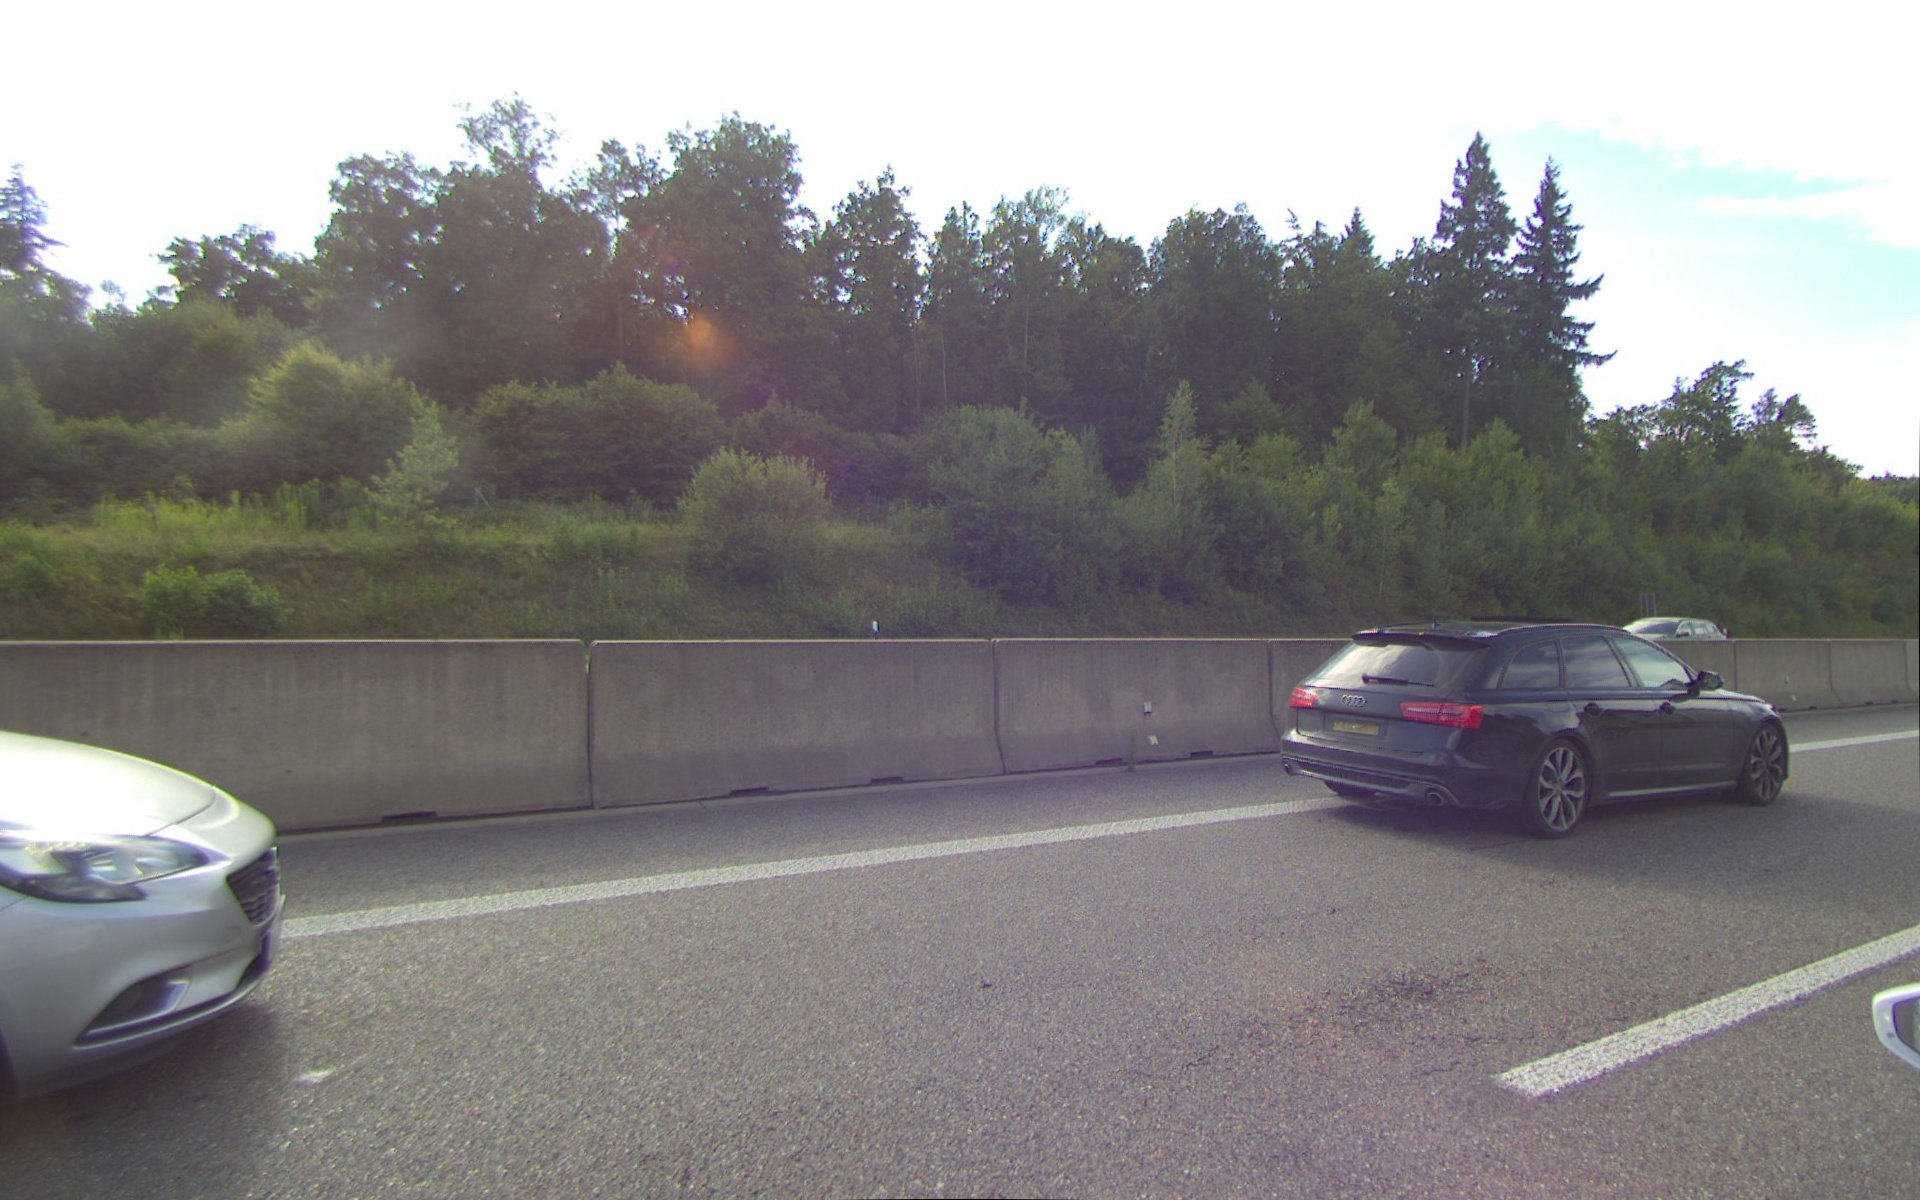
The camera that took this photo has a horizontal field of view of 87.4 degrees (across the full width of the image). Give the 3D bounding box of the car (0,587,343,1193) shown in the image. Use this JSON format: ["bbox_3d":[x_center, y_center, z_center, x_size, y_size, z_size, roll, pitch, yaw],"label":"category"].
[{"bbox_3d":[-3.958,0.698,2.540,3.993,1.485,1.739,1,-1,-30],"label":"car"}]

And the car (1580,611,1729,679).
[{"bbox_3d":[20.604,1.296,29.763,4.570,1.834,1.843,1,0,-30],"label":"car"}]

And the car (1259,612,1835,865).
[{"bbox_3d":[4.761,0.881,7.976,4.690,1.475,1.834,1,0,-30],"label":"car"}]
